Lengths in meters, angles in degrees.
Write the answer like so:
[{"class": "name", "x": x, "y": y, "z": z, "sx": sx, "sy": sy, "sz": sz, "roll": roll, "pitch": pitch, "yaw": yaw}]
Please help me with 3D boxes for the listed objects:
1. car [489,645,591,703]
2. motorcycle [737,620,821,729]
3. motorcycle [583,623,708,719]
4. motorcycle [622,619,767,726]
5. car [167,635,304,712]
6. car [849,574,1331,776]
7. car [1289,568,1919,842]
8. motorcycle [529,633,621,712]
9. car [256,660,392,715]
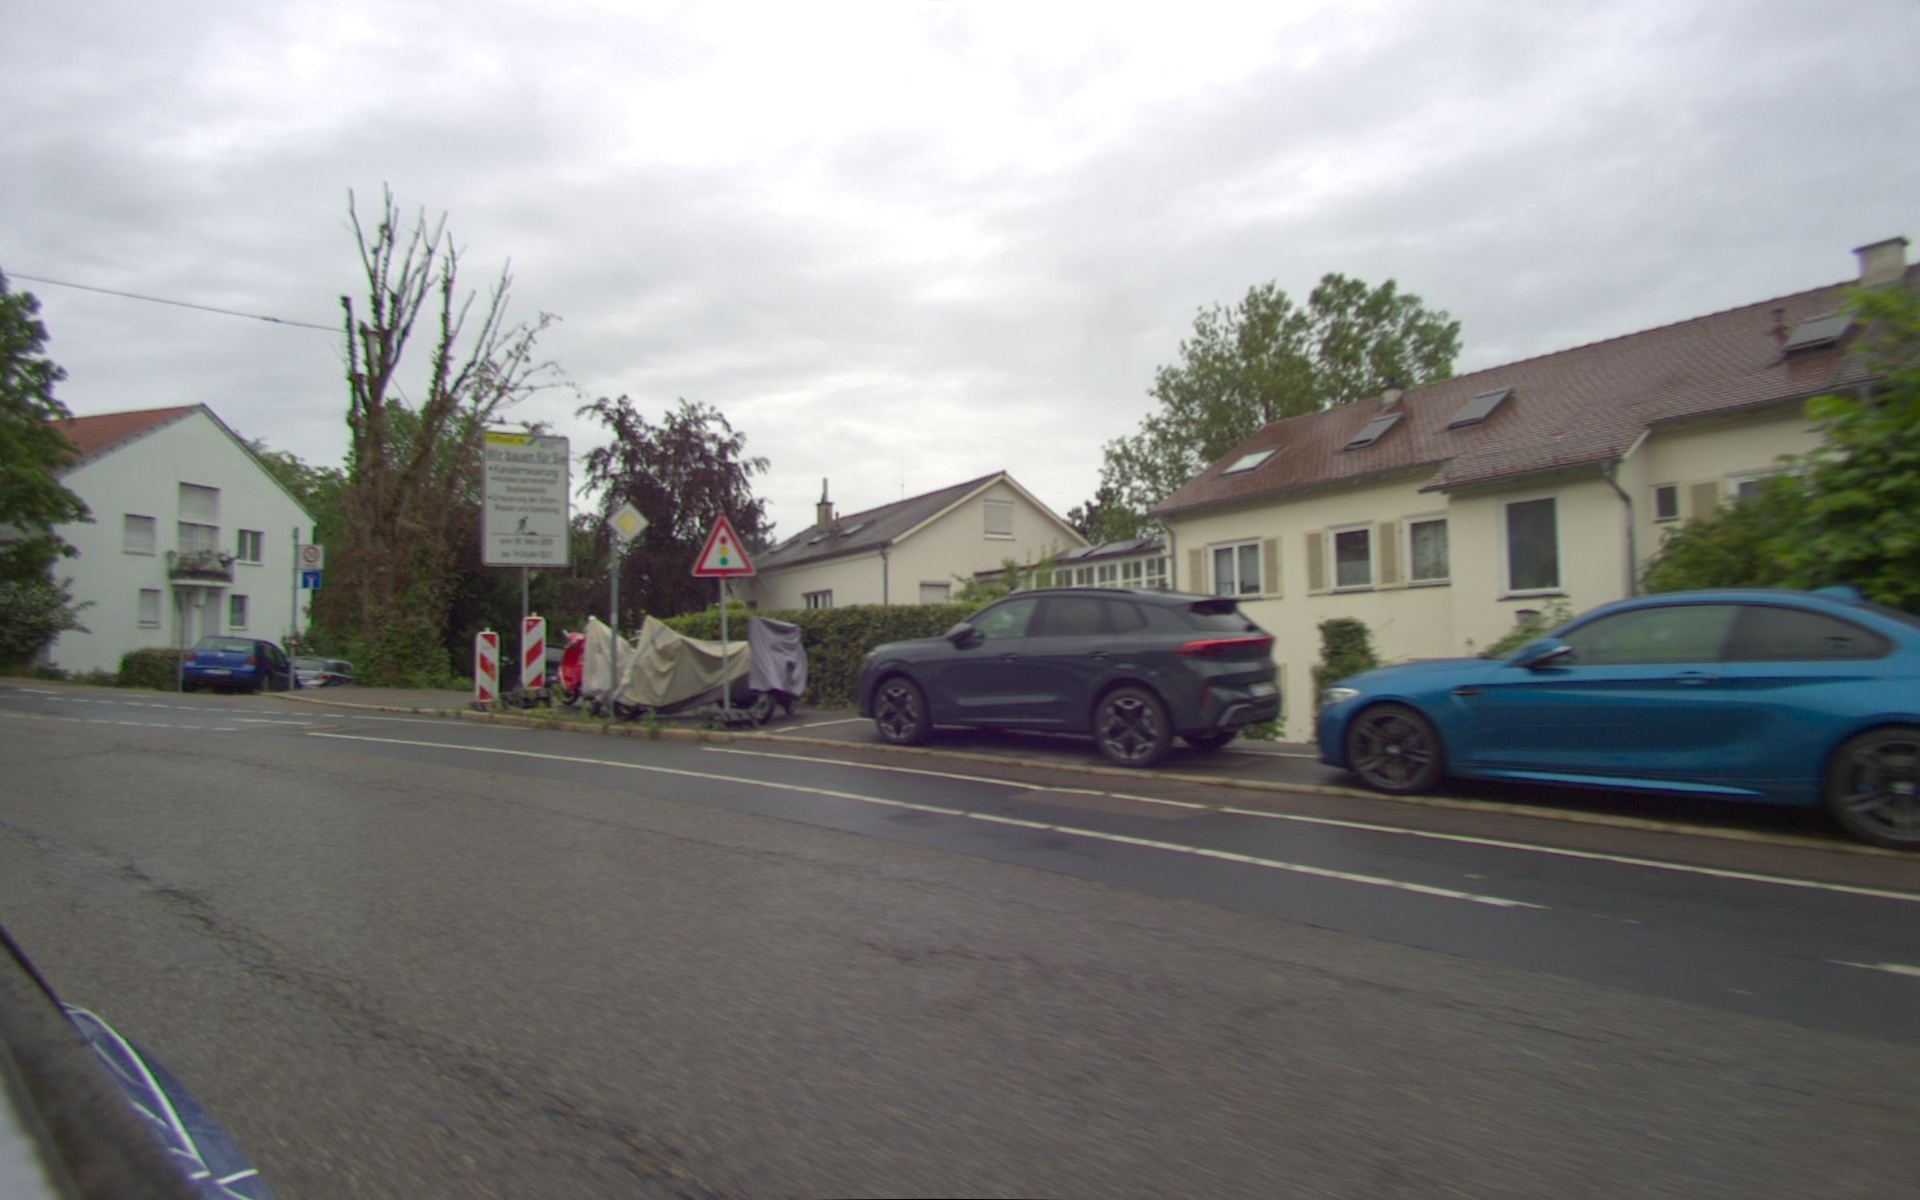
[{"class": "car", "x": -10.744, "y": 1.852, "z": 25.768, "sx": 1.529, "sy": 1.337, "sz": 3.571, "roll": 4, "pitch": -4, "yaw": -36}, {"class": "motorcycle", "x": -2.290, "y": 0.910, "z": 13.022, "sx": 0.568, "sy": 1.281, "sz": 1.904, "roll": -1, "pitch": -1, "yaw": 5}, {"class": "motorcycle", "x": -4.529, "y": 0.991, "z": 14.666, "sx": 0.510, "sy": 1.289, "sz": 1.785, "roll": -2, "pitch": -2, "yaw": 36}, {"class": "motorcycle", "x": -3.559, "y": 0.939, "z": 13.593, "sx": 1.776, "sy": 1.313, "sz": 0.615, "roll": -1, "pitch": -1, "yaw": -26}, {"class": "car", "x": -18.177, "y": 1.793, "z": 25.603, "sx": 1.810, "sy": 1.678, "sz": 3.955, "roll": 4, "pitch": -2, "yaw": -21}, {"class": "car", "x": 1.151, "y": 0.637, "z": 10.055, "sx": 4.381, "sy": 1.589, "sz": 1.903, "roll": -2, "pitch": -1, "yaw": 38}, {"class": "car", "x": 4.676, "y": 0.569, "z": 6.635, "sx": 4.472, "sy": 1.415, "sz": 1.681, "roll": -2, "pitch": -1, "yaw": 43}, {"class": "motorcycle", "x": -5.947, "y": 1.103, "z": 15.587, "sx": 1.922, "sy": 1.148, "sz": 0.504, "roll": -3, "pitch": -5, "yaw": 43}, {"class": "car", "x": -19.653, "y": 2.680, "z": 31.515, "sx": 1.814, "sy": 1.505, "sz": 4.084, "roll": 2, "pitch": -3, "yaw": -4}]
